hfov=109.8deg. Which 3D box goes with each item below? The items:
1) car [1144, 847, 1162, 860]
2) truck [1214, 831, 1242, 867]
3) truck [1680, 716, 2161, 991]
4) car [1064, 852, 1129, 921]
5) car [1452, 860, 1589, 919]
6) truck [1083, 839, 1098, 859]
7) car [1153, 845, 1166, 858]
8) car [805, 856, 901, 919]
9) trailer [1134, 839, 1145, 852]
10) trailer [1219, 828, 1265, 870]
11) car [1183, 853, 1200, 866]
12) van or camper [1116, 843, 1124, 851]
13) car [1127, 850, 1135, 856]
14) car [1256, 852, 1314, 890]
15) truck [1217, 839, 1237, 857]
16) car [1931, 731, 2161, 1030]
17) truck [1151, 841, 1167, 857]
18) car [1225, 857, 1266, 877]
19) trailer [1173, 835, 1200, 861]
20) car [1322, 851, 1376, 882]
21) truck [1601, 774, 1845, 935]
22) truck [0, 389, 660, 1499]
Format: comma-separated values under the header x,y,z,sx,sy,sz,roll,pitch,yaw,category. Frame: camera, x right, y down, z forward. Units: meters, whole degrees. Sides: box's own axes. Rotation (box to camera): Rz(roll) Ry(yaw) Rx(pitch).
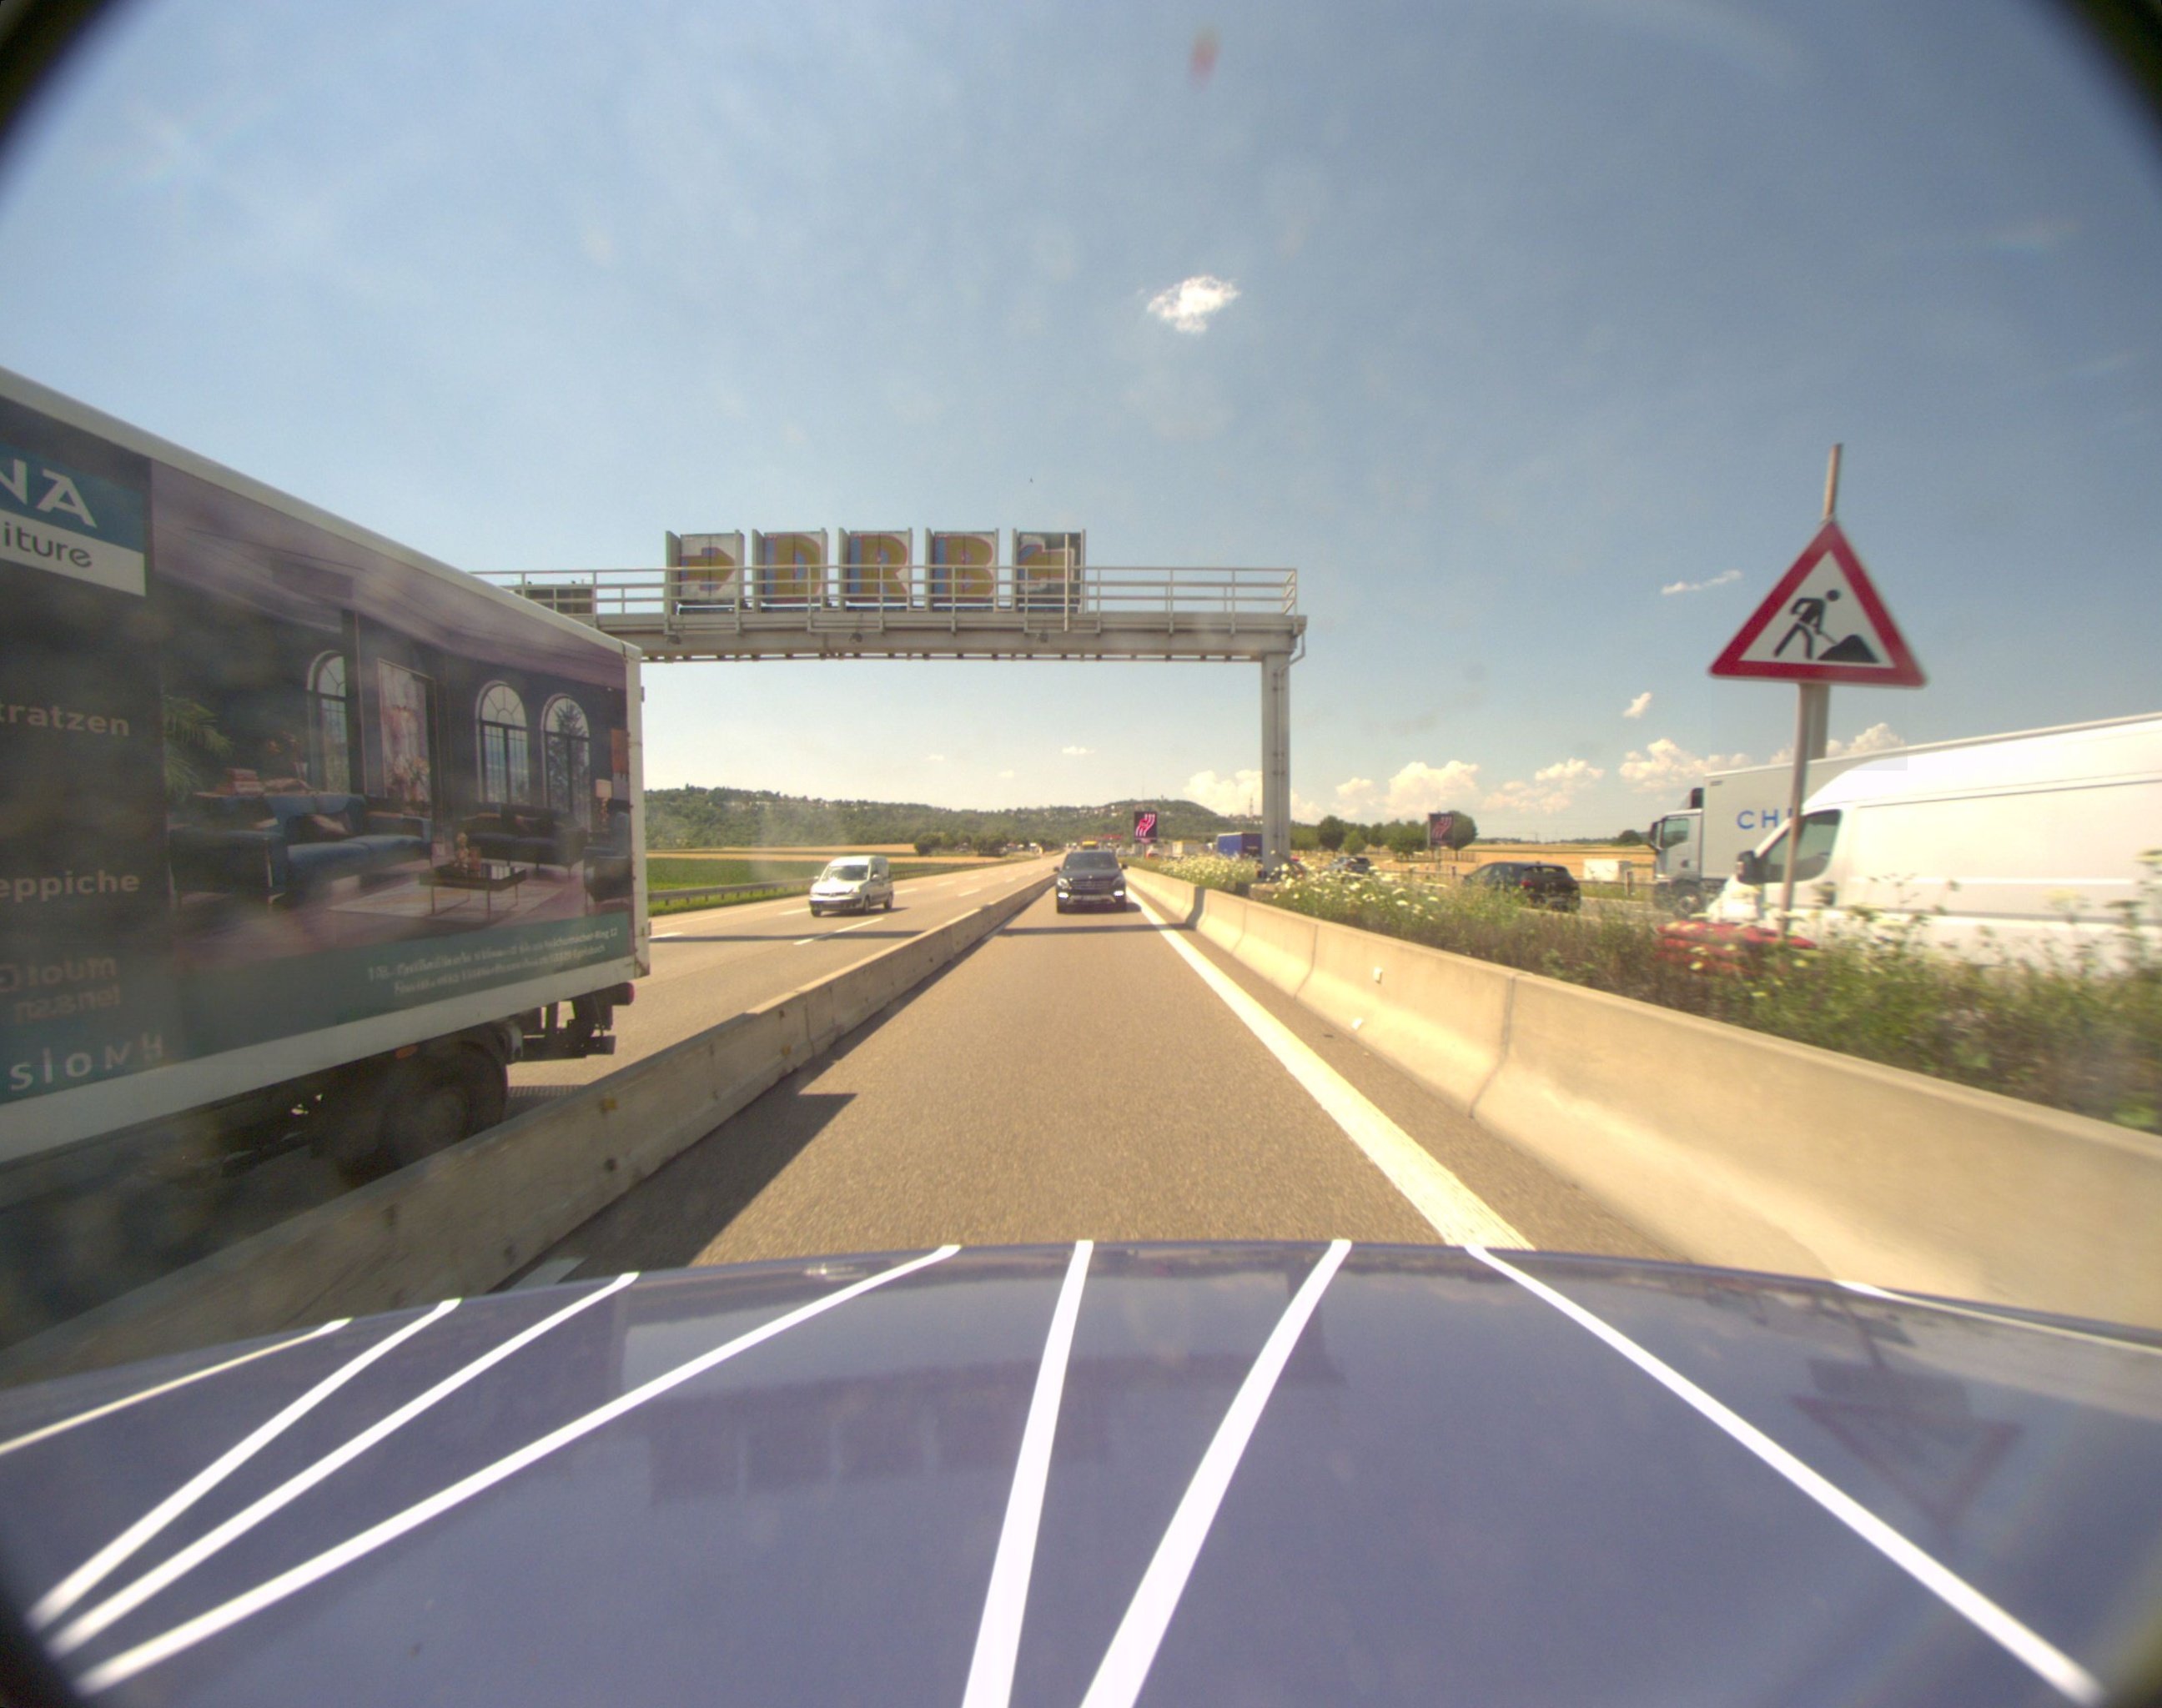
x,y,z,sx,sy,sz,roll,pitch,yaw,category
9.718,-0.059,102.979,1.899,1.569,4.935,-2,1,1,car
16.982,-0.561,88.113,2.417,4.063,4.659,0,0,1,truck
15.594,0.010,13.753,2.706,3.599,8.787,1,0,2,truck
0.459,0.863,21.864,1.630,1.711,3.865,-3,0,2,car
11.887,0.900,20.855,1.563,1.433,3.837,0,0,0,car
1.630,-0.888,127.232,2.272,3.139,8.185,-2,1,1,truck
15.348,-0.553,148.642,2.052,2.486,5.812,0,0,1,car
-6.912,0.957,23.489,1.630,1.727,3.973,-2,0,2,car
19.655,-2.791,254.973,2.900,4.350,12.992,1,1,1,trailer
16.739,-0.507,80.145,2.392,4.063,14.098,0,0,2,trailer
13.213,0.666,90.917,1.592,1.499,4.229,0,0,1,car
10.699,-1.927,208.945,2.040,2.208,7.207,-2,0,1,van or camper
11.464,-0.179,175.828,1.601,1.460,4.533,0,0,1,car
8.935,0.700,33.513,1.563,1.561,3.704,0,0,0,car
32.108,-1.330,167.078,2.902,3.755,13.305,2,1,16,truck
7.971,0.177,3.835,1.998,1.934,4.794,0,0,0,car
18.820,-1.164,183.333,2.801,3.588,13.288,2,0,1,truck
11.577,0.912,53.725,1.837,1.316,4.280,1,0,-1,car
17.607,-1.040,127.620,2.817,4.104,14.129,0,0,1,trailer
16.156,0.720,46.006,1.837,1.709,4.080,1,0,1,car
15.771,0.011,19.050,2.704,3.566,4.000,1,0,2,truck
-4.142,0.259,1.852,2.326,3.049,6.751,-2,0,1,truck
